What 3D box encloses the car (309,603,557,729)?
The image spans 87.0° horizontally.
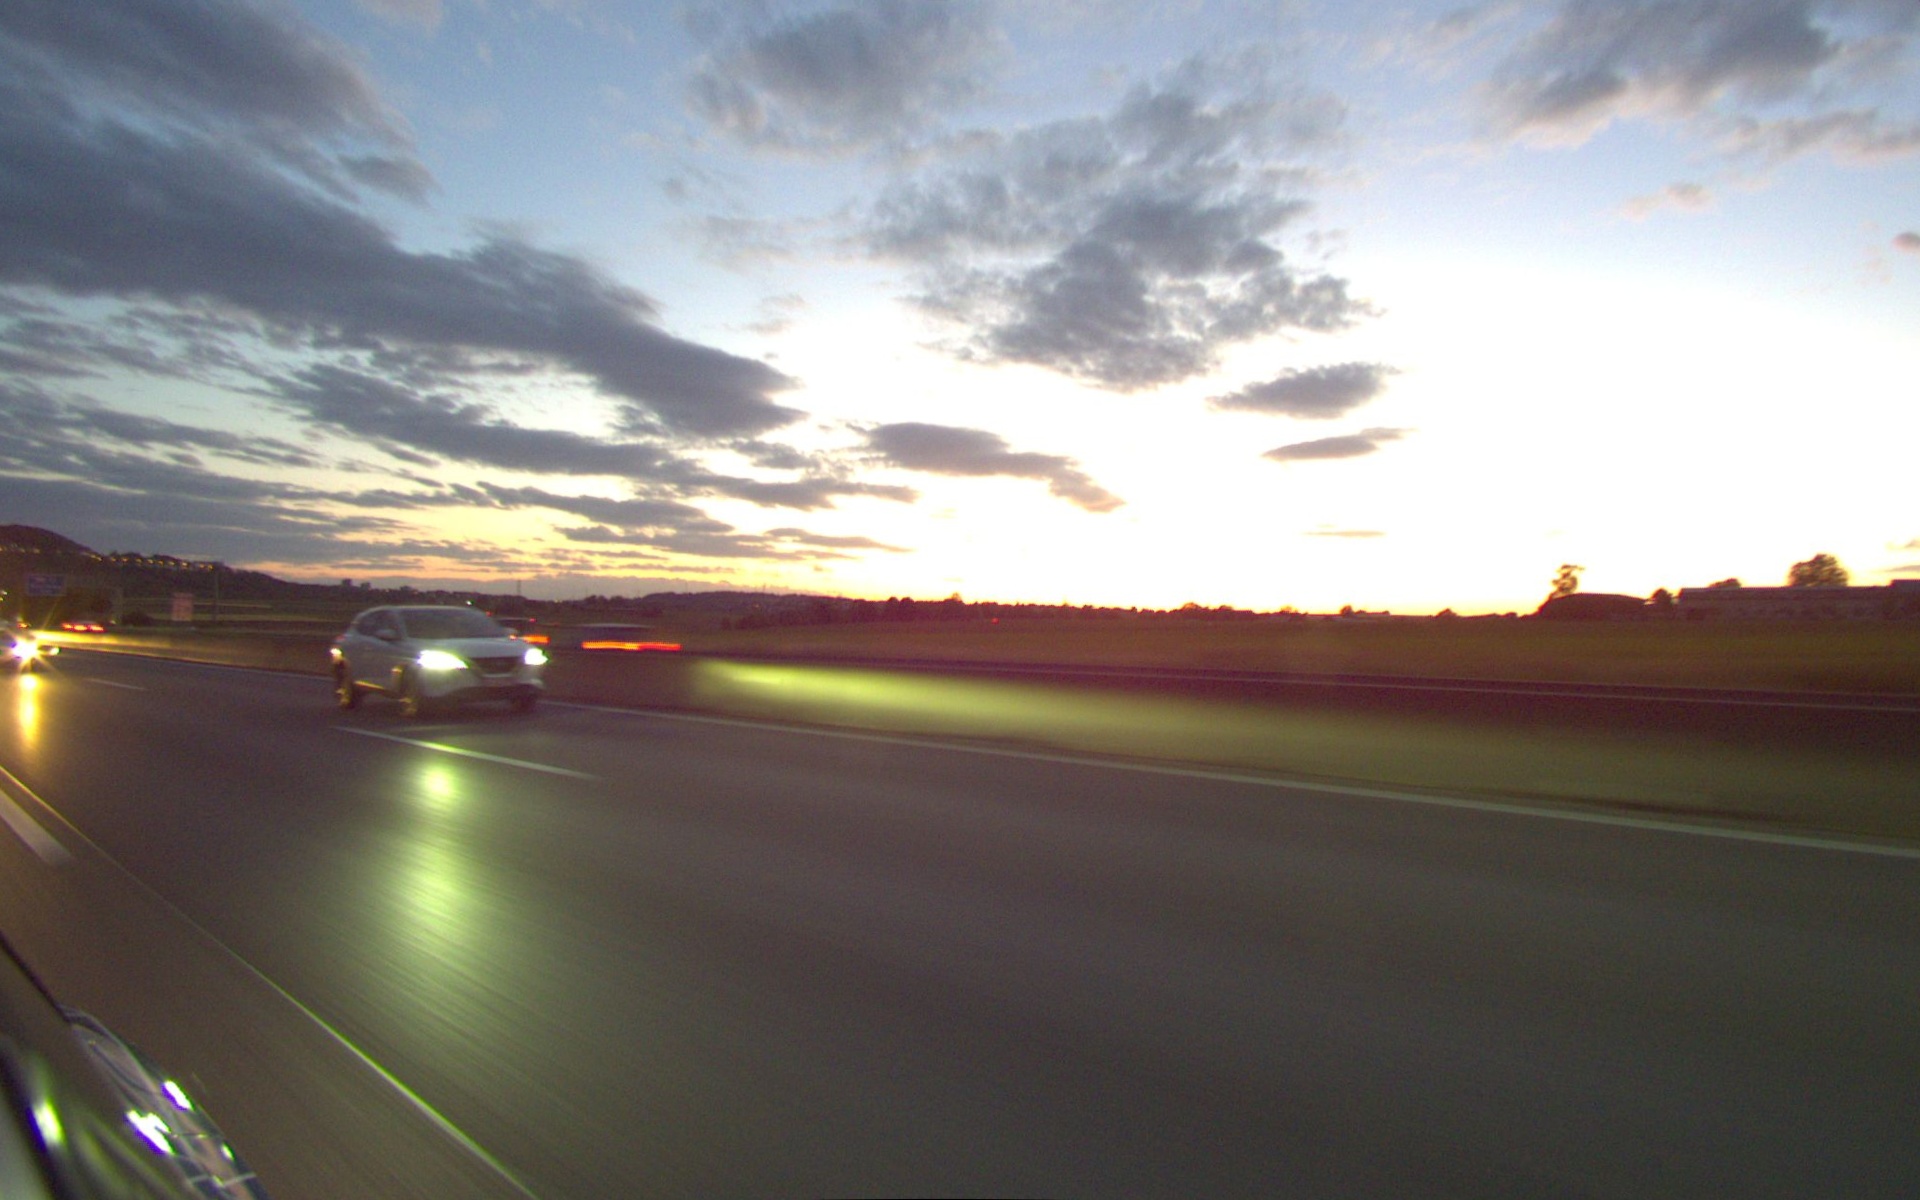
[{"bbox_3d":[-8.347,0.908,15.811,4.854,1.660,1.795,-1,0,41],"label":"car"}]

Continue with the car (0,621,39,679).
[{"bbox_3d":[-28.272,1.432,29.410,4.157,1.552,1.778,-1,0,41],"label":"car"}]

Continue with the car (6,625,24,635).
[{"bbox_3d":[-152.298,4.847,163.077,4.518,1.546,1.641,-1,0,41],"label":"car"}]

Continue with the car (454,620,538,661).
[{"bbox_3d":[-23.083,1.953,50.263,4.955,1.861,1.973,-1,0,41],"label":"car"}]

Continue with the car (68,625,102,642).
[{"bbox_3d":[-76.323,2.884,88.260,4.703,1.310,1.654,-1,0,41],"label":"car"}]

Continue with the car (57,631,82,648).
[{"bbox_3d":[-111.819,4.936,127.073,4.417,2.029,1.755,-1,0,41],"label":"car"}]

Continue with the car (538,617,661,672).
[{"bbox_3d":[-10.244,1.202,28.653,3.900,1.397,1.588,-1,0,41],"label":"car"}]
